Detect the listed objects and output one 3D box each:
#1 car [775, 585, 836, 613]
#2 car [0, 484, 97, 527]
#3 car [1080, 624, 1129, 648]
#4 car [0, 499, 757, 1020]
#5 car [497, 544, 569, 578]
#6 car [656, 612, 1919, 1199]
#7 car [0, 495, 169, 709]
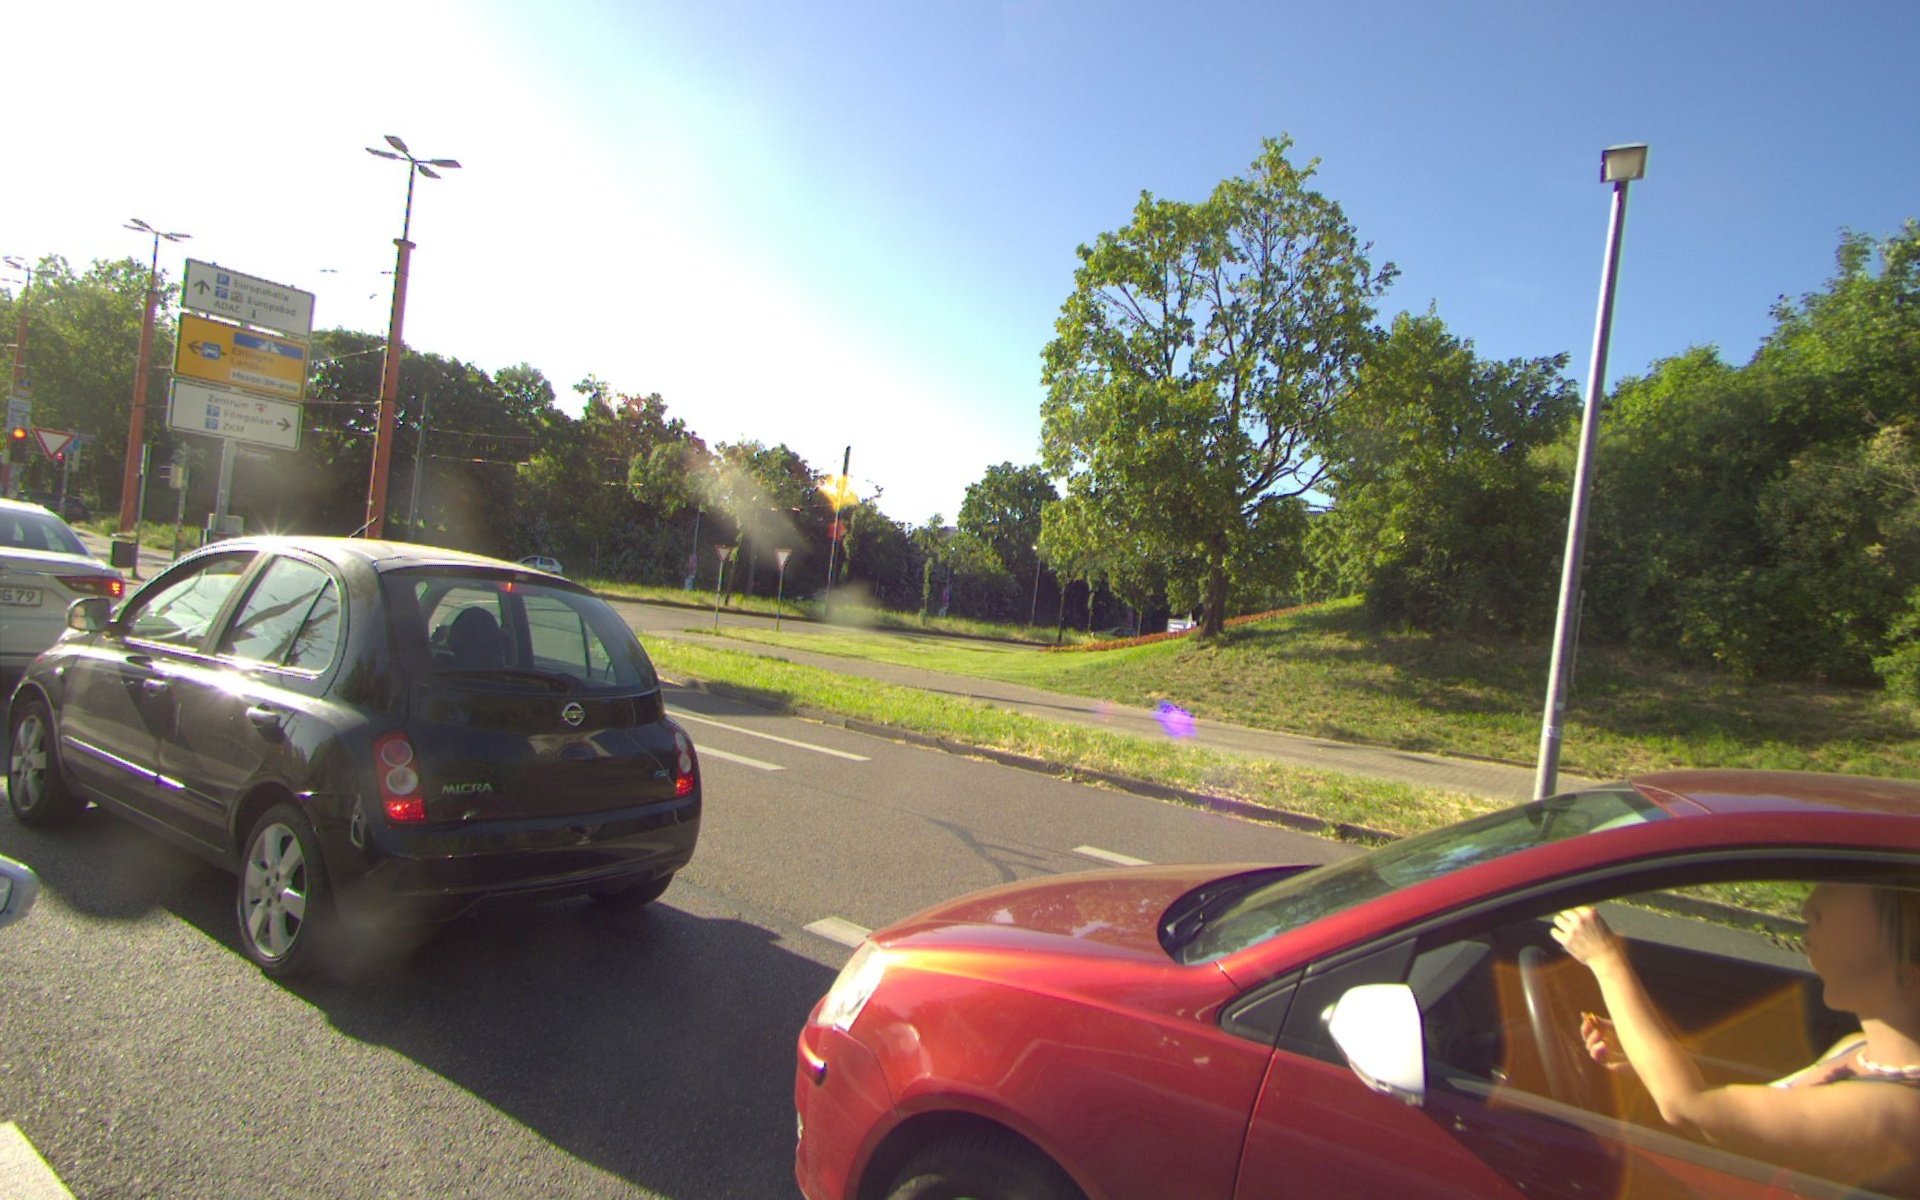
[{"bbox_3d":[-10.799,-0.089,70.216,3.774,1.419,1.639,9,-1,-38],"label":"car"},{"bbox_3d":[-45.541,-4.691,49.676,4.105,1.528,1.644,8,-1,-31],"label":"car"},{"bbox_3d":[11.611,2.902,80.810,3.774,1.419,1.639,9,-1,-38],"label":"car"},{"bbox_3d":[-2.802,0.468,4.618,3.385,1.457,1.579,6,-2,32],"label":"car"},{"bbox_3d":[-26.139,-2.407,61.660,3.764,1.528,1.644,8,-1,-31],"label":"car"},{"bbox_3d":[1.341,1.004,1.863,3.629,1.477,1.579,6,-2,32],"label":"car"},{"bbox_3d":[-8.374,-0.174,8.073,4.256,1.457,1.802,6,-2,33],"label":"car"}]
